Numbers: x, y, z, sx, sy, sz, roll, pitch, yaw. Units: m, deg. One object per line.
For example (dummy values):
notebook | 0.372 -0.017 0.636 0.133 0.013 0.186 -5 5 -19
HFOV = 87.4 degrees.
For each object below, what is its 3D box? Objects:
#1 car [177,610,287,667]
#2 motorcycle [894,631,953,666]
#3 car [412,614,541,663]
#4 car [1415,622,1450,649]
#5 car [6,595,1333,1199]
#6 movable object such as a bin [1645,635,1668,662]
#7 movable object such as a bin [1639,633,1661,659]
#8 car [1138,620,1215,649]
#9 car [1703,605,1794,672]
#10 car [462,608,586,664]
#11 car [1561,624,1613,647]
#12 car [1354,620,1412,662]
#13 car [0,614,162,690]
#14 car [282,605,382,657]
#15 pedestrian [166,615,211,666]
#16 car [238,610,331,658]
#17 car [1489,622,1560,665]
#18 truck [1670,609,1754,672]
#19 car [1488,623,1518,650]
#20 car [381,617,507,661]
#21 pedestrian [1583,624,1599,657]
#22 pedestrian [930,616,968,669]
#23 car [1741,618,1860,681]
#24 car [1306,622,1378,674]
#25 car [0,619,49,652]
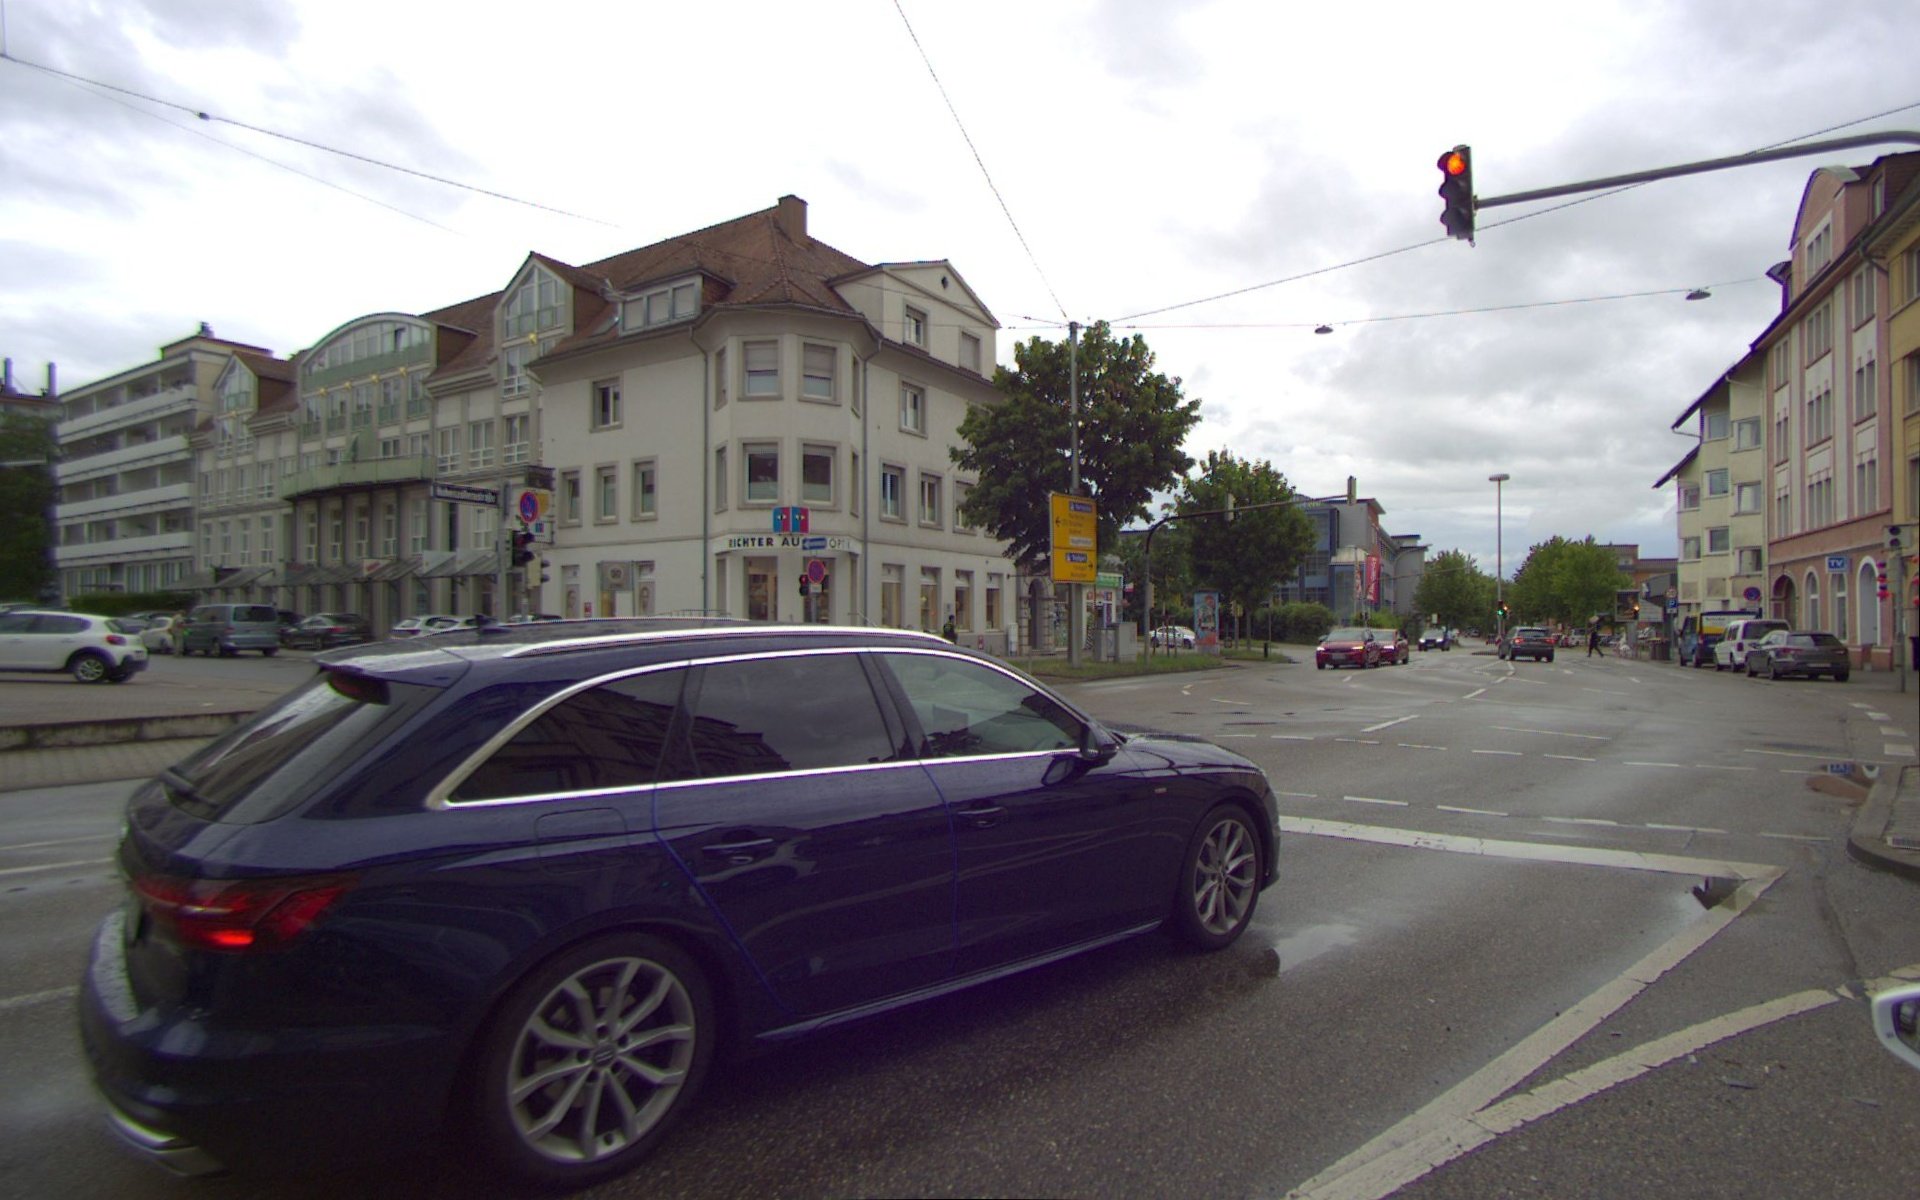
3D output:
car | -27.689 1.433 38.186 3.929 2.040 1.996 -1 -1 31
motorcycle | -1.306 1.733 36.399 0.710 1.194 2.580 -1 -1 36
car | -18.051 1.404 37.687 1.964 1.753 3.994 -1 -1 28
car | 36.121 2.690 76.753 1.965 2.040 3.991 -1 -1 32
car | -0.512 0.762 3.982 4.648 1.424 1.787 2 -1 -42
movable object such as a bin | 34.658 2.413 50.005 0.736 1.248 0.982 4 2 27
movable object such as a bin | 35.308 2.350 51.425 0.736 1.248 0.982 4 2 27
car | 13.984 2.206 64.925 4.485 1.817 1.989 -1 -1 43
car | 27.903 1.296 35.653 1.735 2.209 3.995 0 0 26
car | -15.008 1.215 34.565 3.929 1.839 1.996 -1 -1 31
car | 62.224 3.525 99.794 3.920 2.040 2.001 2 1 17
car | 17.385 1.647 41.173 1.738 1.656 3.618 -1 -1 30
car | -19.717 1.095 21.543 3.707 1.519 1.574 3 -3 -23
car | -25.841 1.283 41.336 3.931 2.040 1.995 -1 -1 32
pedestrian | -28.849 1.503 37.563 1.172 1.853 1.059 0 -1 -29
car | -30.243 1.513 44.977 3.930 2.040 1.996 -1 -1 31
car | 25.446 1.928 45.405 1.960 1.840 4.001 0 -1 17
truck | 30.457 1.577 40.811 1.995 2.421 4.232 0 0 26
car | 42.307 2.782 78.291 1.963 2.040 3.994 -1 -1 28
car | -19.957 1.481 39.011 1.841 1.612 3.993 -1 -1 29
pedestrian | 37.813 2.443 60.225 0.711 1.962 0.792 0 -1 25
pedestrian | -0.369 1.411 33.689 0.947 1.731 0.933 -1 -1 27
car | 24.472 1.427 29.404 1.850 1.658 3.995 0 -2 27
car | 14.064 1.704 36.853 1.817 1.706 3.992 3 1 30
car | -59.114 2.204 62.947 3.930 2.040 1.996 -1 -1 31
